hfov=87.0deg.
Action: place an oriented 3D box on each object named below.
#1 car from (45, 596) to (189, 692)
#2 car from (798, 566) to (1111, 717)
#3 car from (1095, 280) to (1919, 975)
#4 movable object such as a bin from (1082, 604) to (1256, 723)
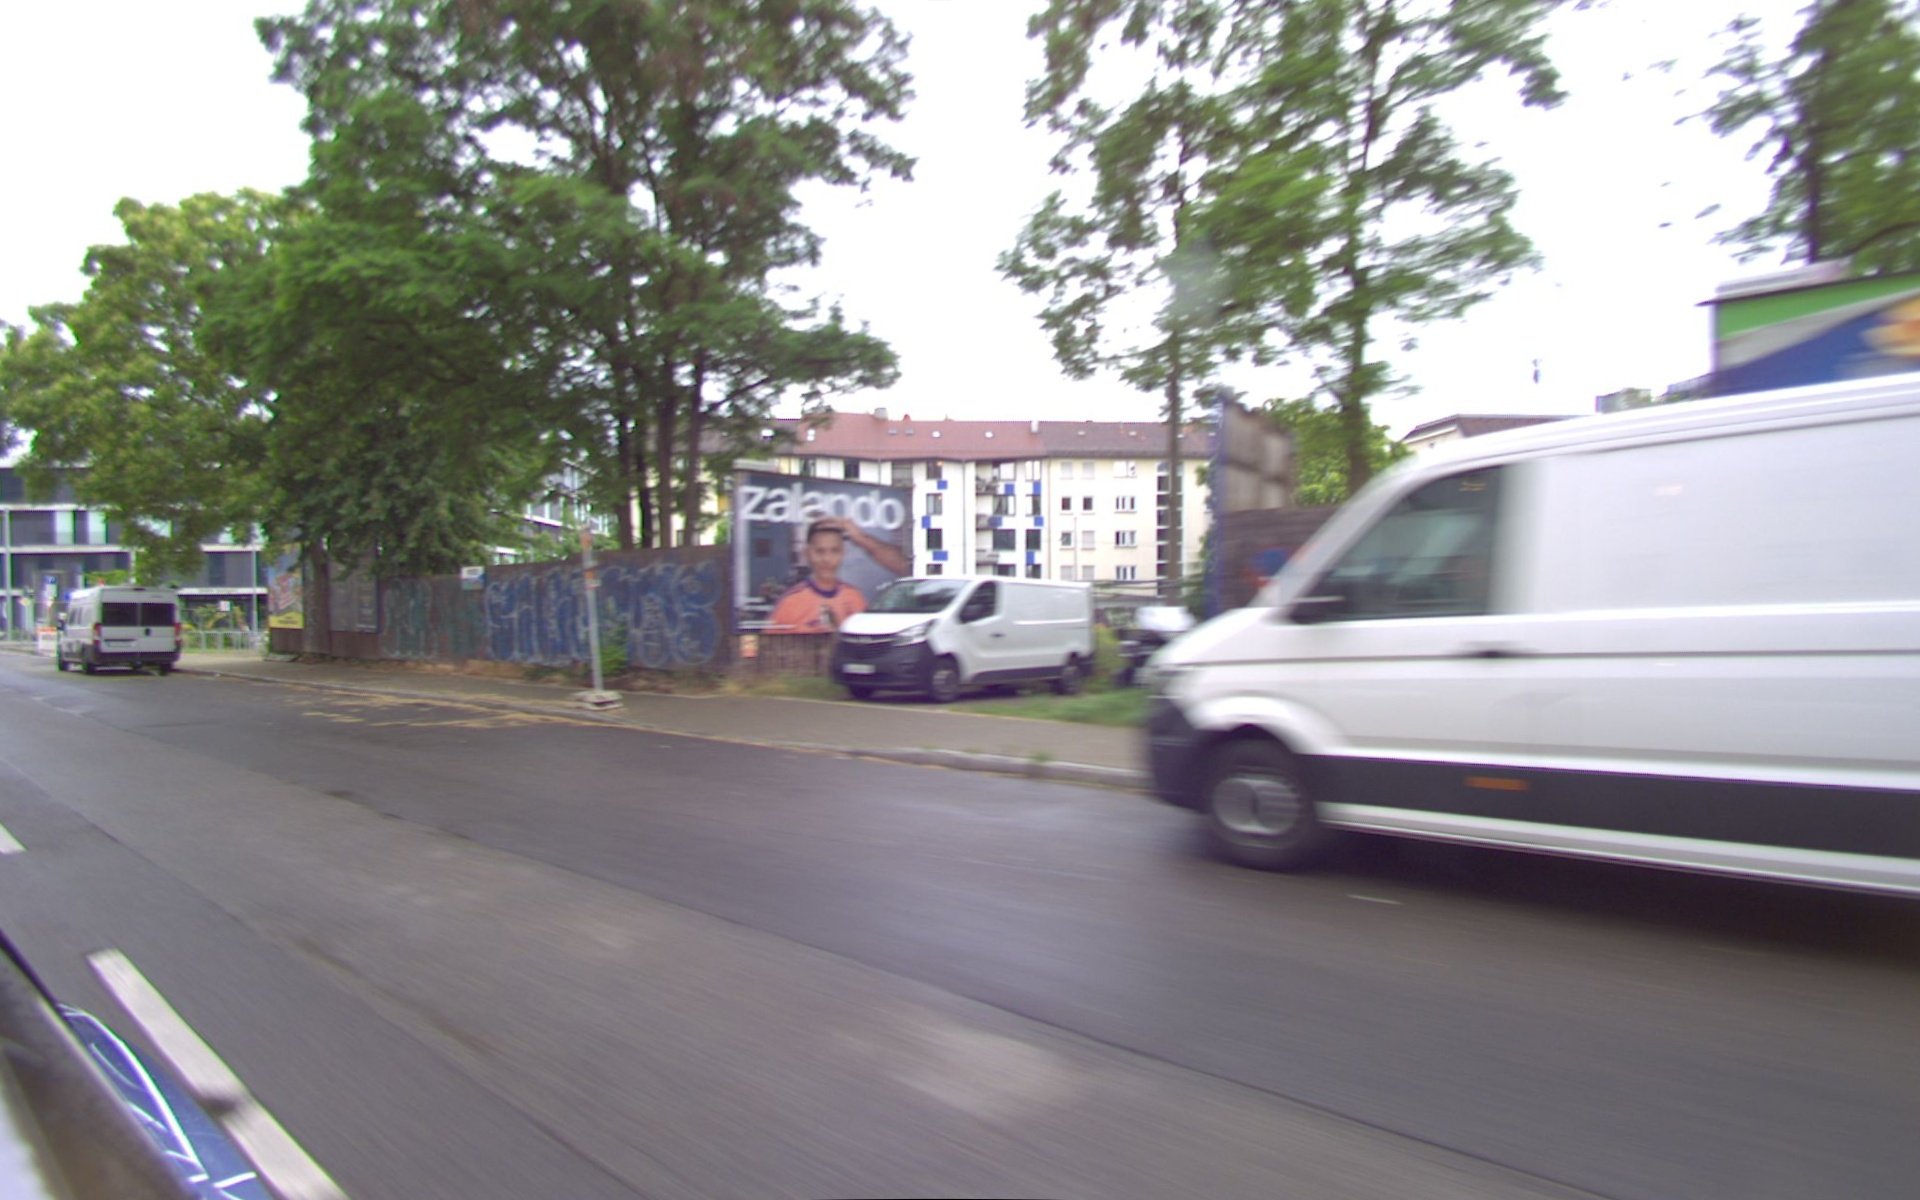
[{"bbox_3d":[-25.523,1.291,30.522,6.532,2.598,2.207,-2,-2,40],"label":"car"},{"bbox_3d":[0.134,0.607,16.390,2.144,2.025,5.445,-2,-2,39],"label":"car"},{"bbox_3d":[3.701,0.119,4.778,5.981,2.506,1.990,-2,-2,42],"label":"car"},{"bbox_3d":[2.906,0.807,13.774,1.667,1.435,2.677,-1,-2,27],"label":"movable object such as a bin"}]
